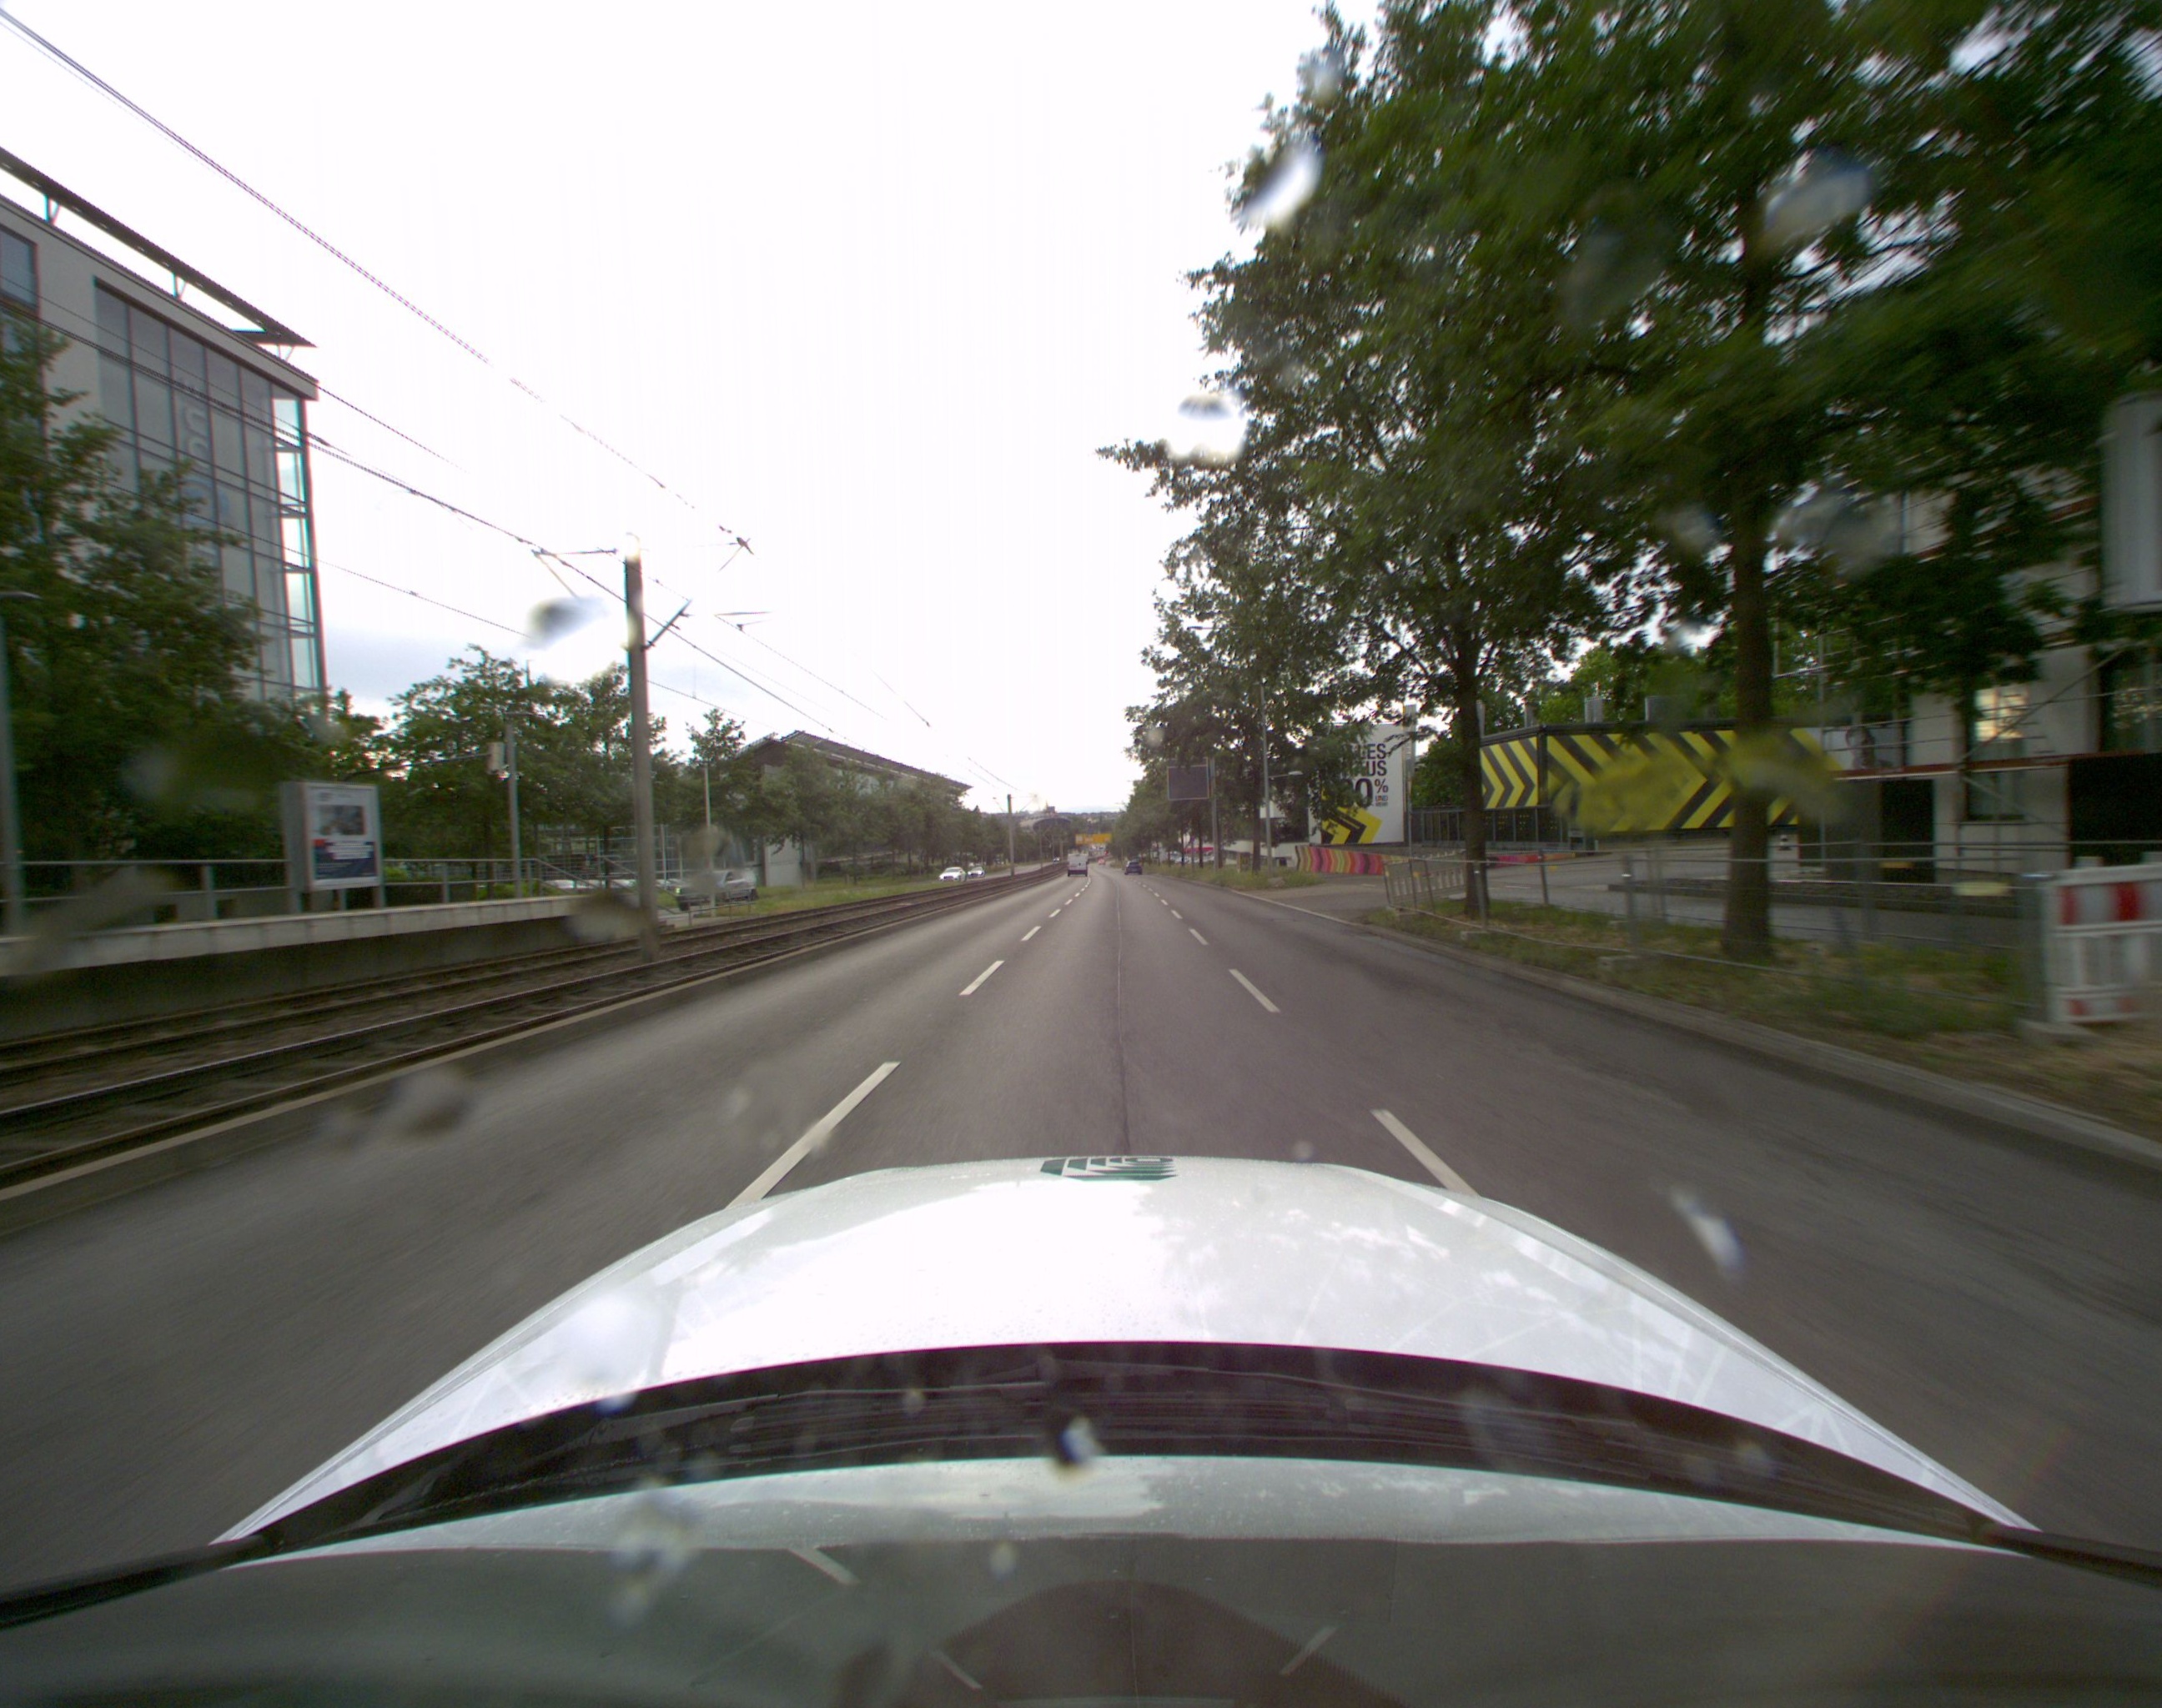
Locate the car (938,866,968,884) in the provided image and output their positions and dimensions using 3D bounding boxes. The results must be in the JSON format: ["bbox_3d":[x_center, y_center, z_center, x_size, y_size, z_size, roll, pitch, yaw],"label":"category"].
[{"bbox_3d":[-11.795,1.913,75.403,1.830,1.444,4.431,-4,0,2],"label":"car"}]

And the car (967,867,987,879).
[{"bbox_3d":[-13.829,2.493,108.536,1.873,1.447,4.140,-2,-1,2],"label":"car"}]

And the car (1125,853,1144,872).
[{"bbox_3d":[5.818,0.946,88.658,1.986,2.014,3.936,0,-1,2],"label":"car"}]

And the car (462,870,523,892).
[{"bbox_3d":[-51.702,2.347,71.613,4.054,1.836,1.864,-1,-1,3],"label":"car"}]

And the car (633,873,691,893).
[{"bbox_3d":[-35.249,2.441,68.610,4.036,1.618,1.640,-1,-1,3],"label":"car"}]

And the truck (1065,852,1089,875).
[{"bbox_3d":[-0.423,0.970,83.068,2.353,2.262,5.304,0,-1,0],"label":"truck"}]

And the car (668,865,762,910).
[{"bbox_3d":[-17.294,1.526,38.775,1.986,1.847,5.004,-3,0,2],"label":"car"}]
